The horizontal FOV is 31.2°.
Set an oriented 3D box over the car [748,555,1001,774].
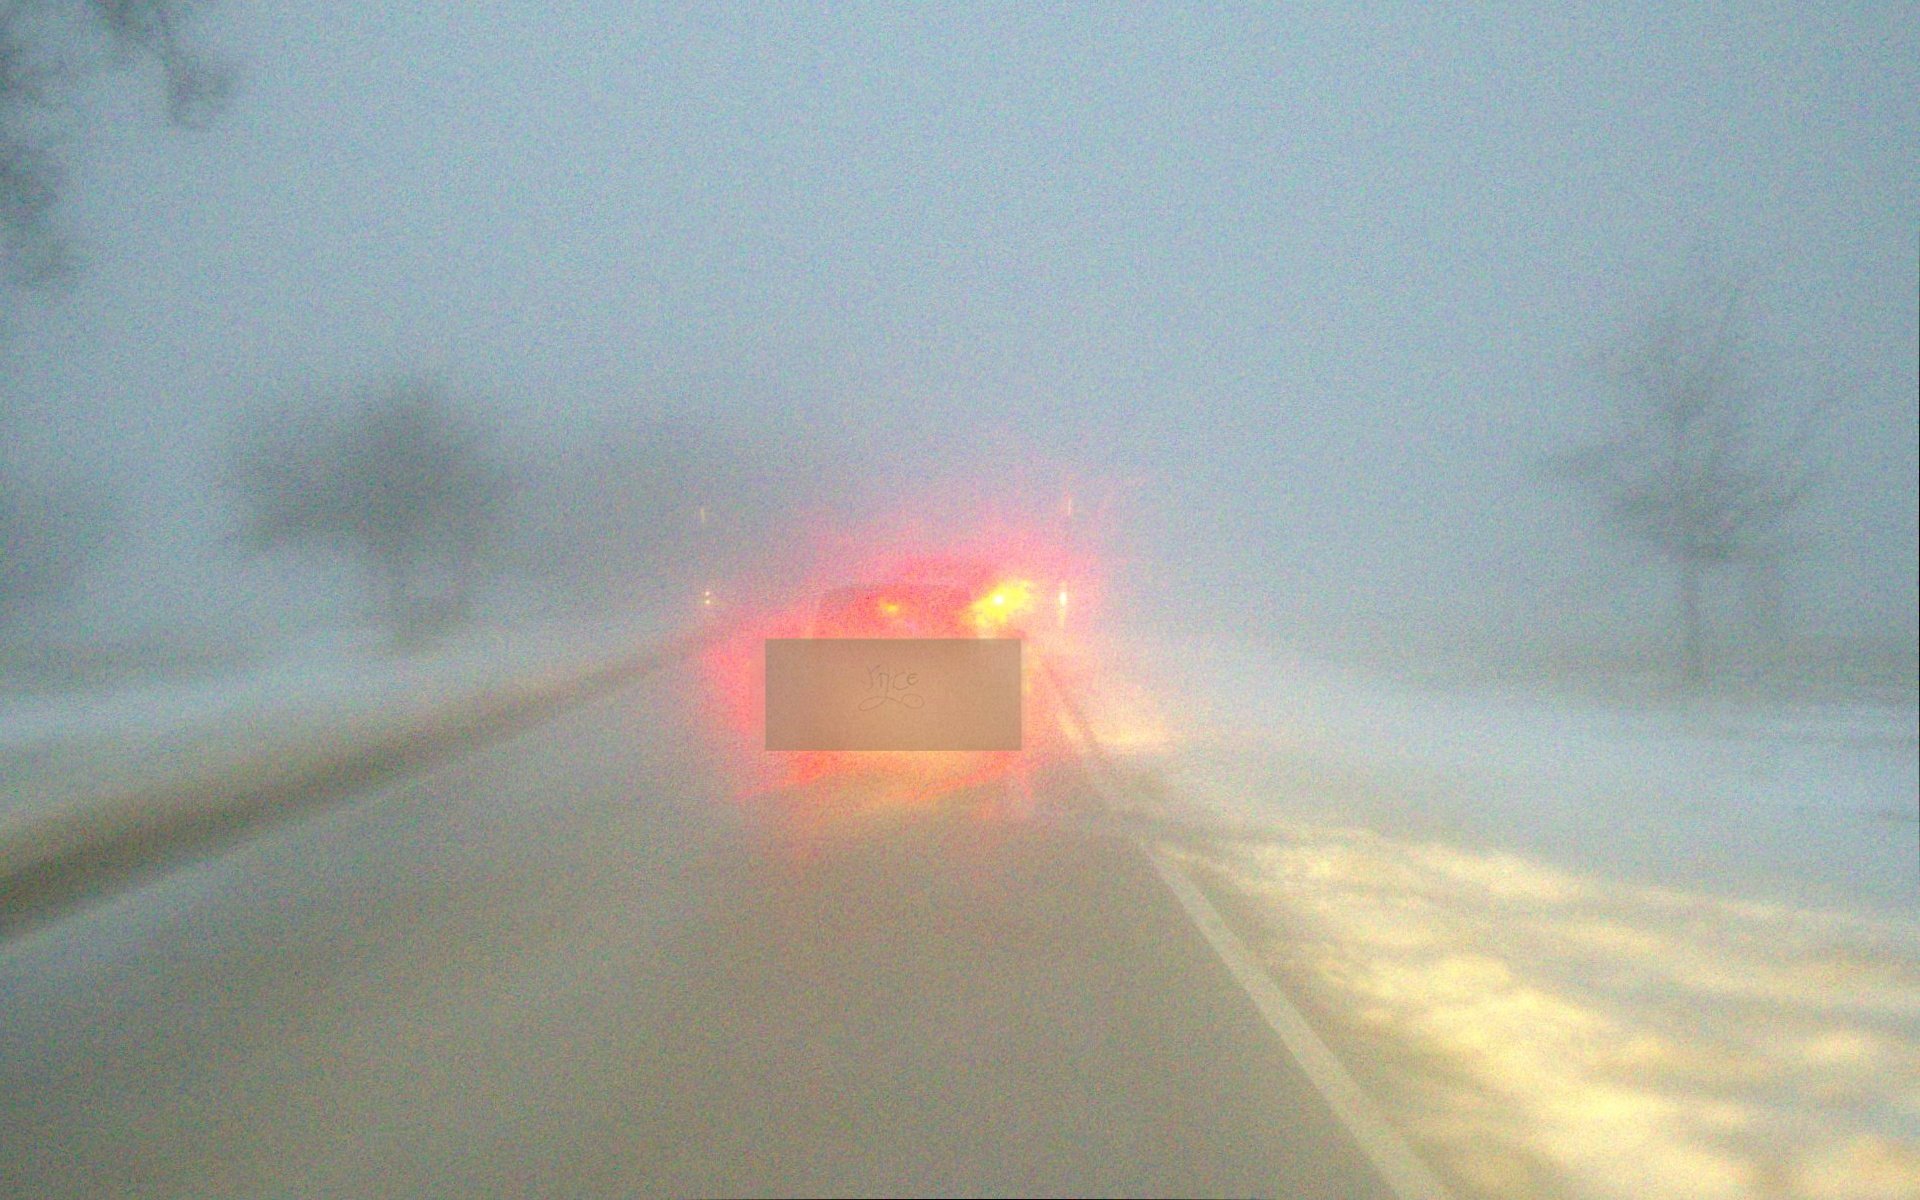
[{"bbox_3d":[-0.712,0.441,25.855,1.706,1.458,4.000,2,0,-3],"label":"car"}]
